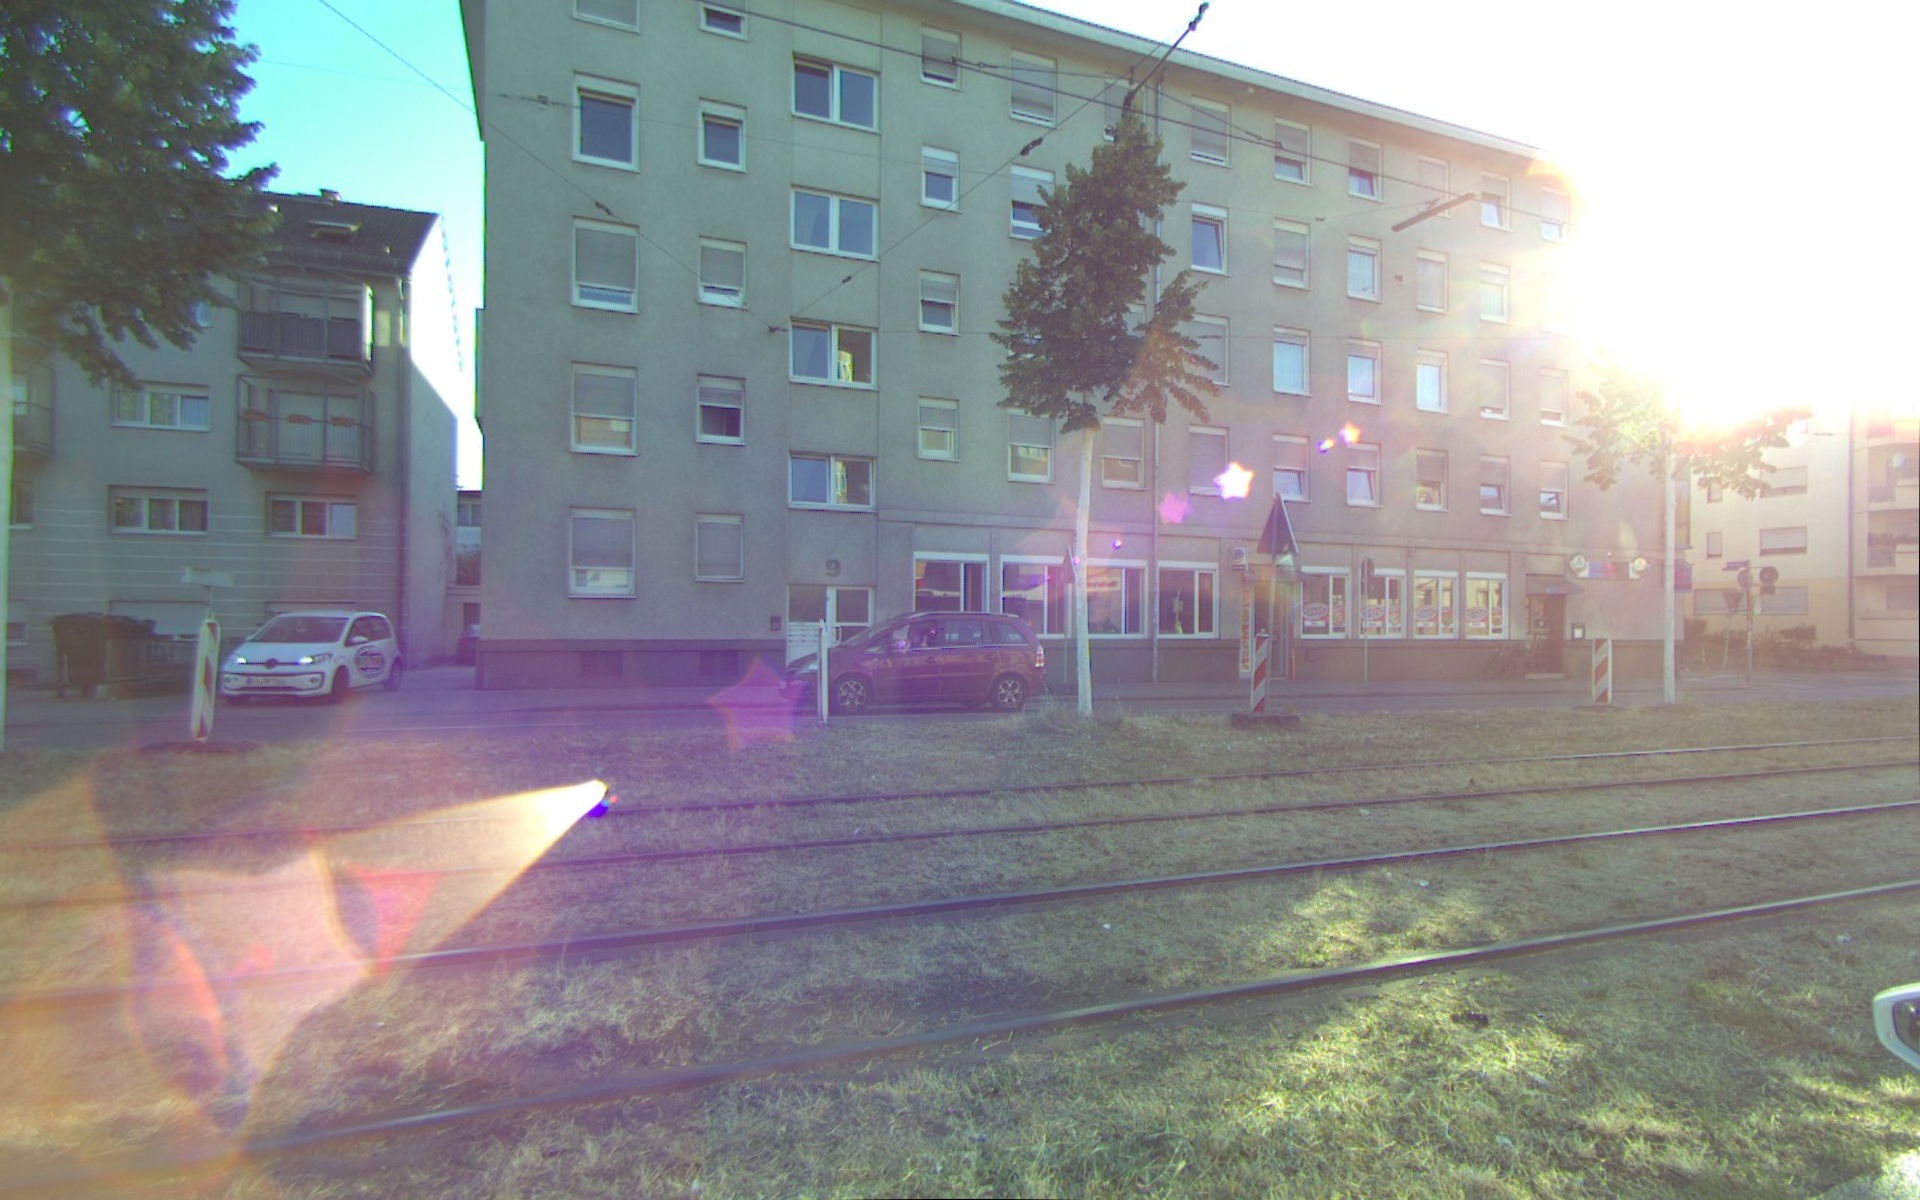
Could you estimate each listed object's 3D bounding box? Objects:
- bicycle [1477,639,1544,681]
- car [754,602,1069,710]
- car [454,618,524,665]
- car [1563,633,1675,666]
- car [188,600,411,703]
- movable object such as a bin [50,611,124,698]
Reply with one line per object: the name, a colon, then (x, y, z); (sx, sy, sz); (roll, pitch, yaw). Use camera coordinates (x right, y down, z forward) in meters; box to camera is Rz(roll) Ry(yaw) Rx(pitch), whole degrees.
bicycle: (15.520, 1.682, 28.319); (1.752, 1.129, 0.745); (1, -1, -22)
car: (-0.774, 0.921, 16.509); (4.864, 1.580, 1.808); (2, -2, -23)
car: (-16.688, 1.451, 35.773); (1.790, 1.437, 3.923); (2, 0, -19)
car: (30.108, 2.238, 46.007); (1.770, 1.458, 3.938); (2, -2, -31)
car: (-10.978, 0.852, 17.050); (1.785, 1.532, 3.822); (1, -2, -11)
movable object such as a bin: (-14.493, 0.894, 16.692); (0.738, 1.419, 0.661); (1, -1, -24)
